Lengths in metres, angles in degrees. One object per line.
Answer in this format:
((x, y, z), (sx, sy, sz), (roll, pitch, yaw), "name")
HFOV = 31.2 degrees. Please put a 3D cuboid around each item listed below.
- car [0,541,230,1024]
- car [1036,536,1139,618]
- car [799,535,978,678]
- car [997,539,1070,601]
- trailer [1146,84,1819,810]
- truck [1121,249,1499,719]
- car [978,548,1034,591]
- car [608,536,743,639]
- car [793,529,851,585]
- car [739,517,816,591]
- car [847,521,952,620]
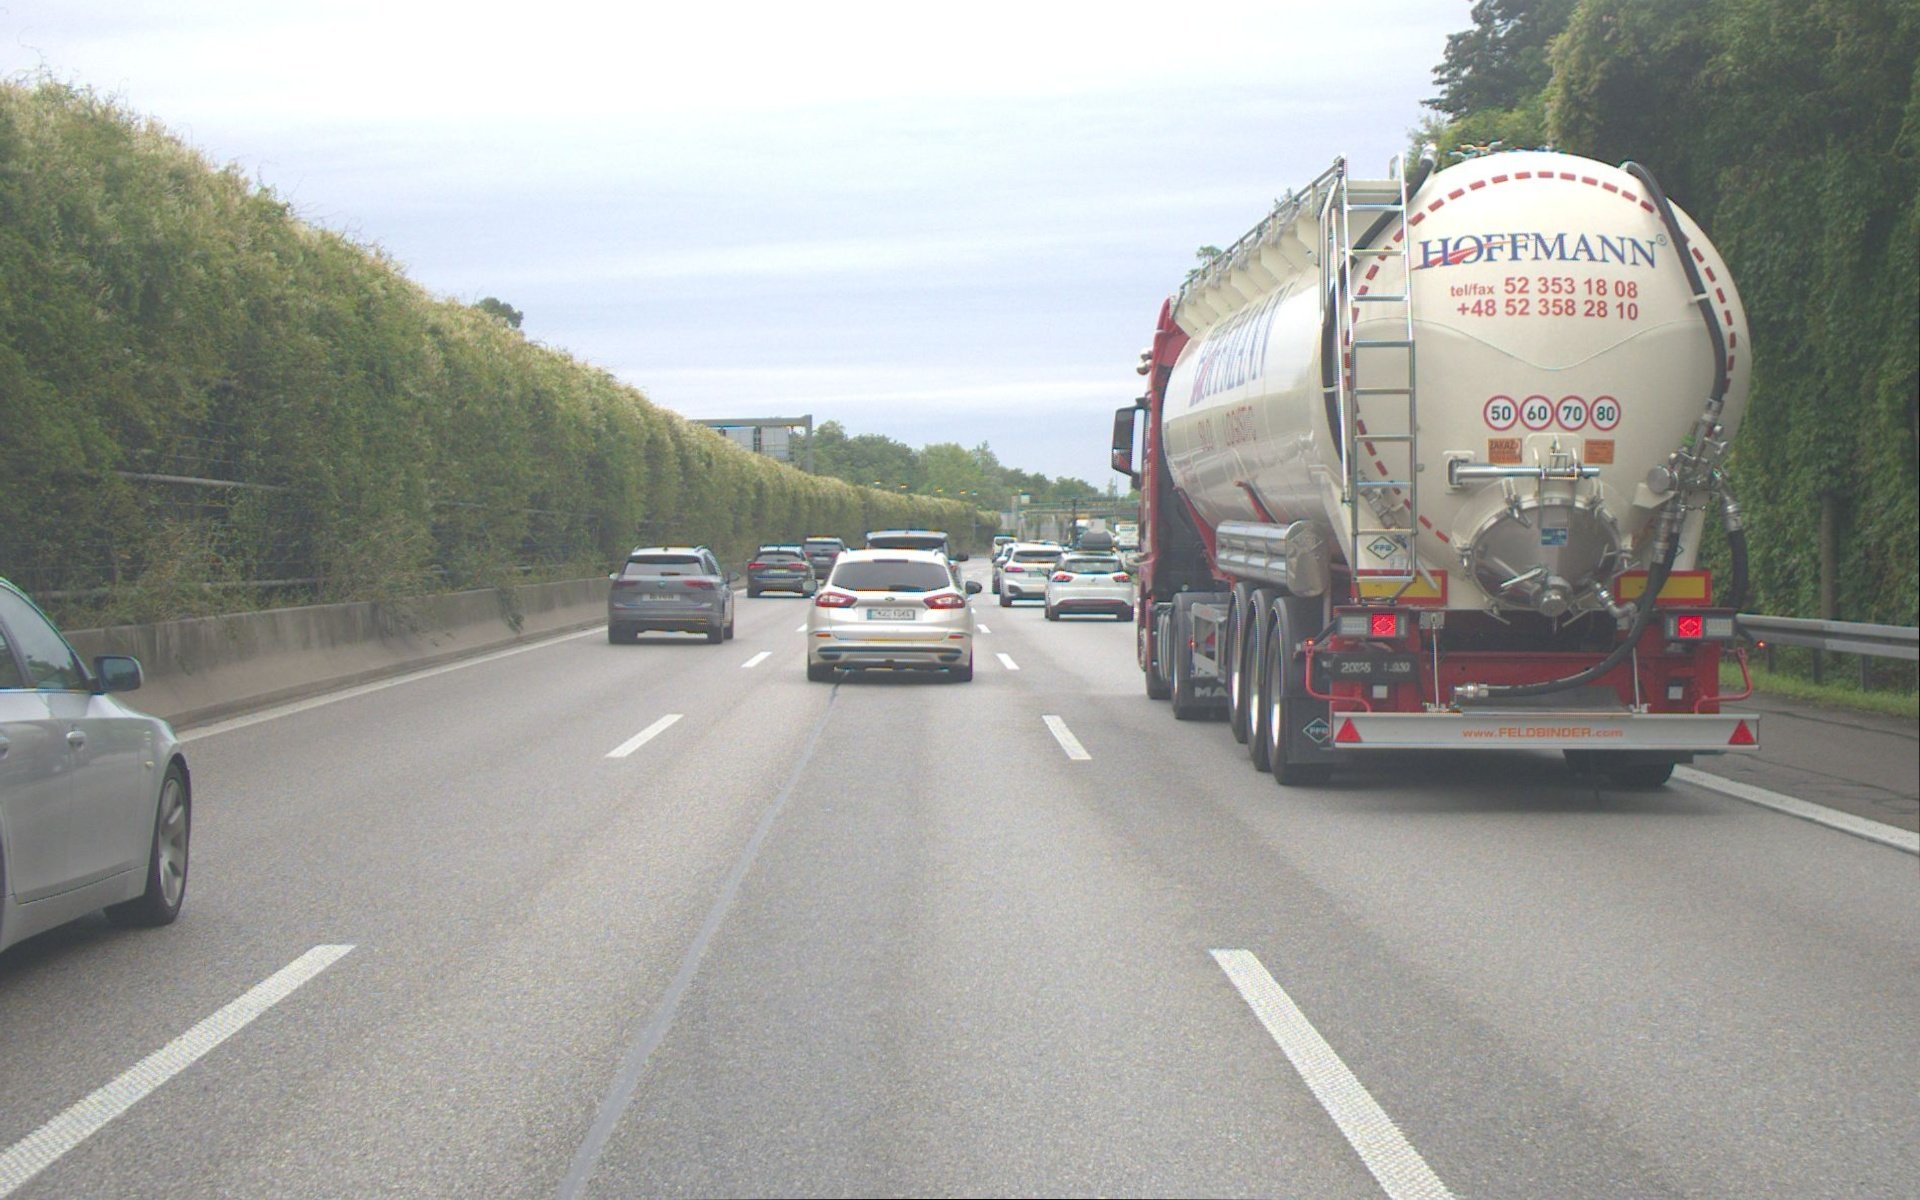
((-3.860, 0.555, 11.695), (1.720, 1.464, 5.030), (1, 1, -1), "car")
((2.598, -0.502, 71.061), (1.816, 1.620, 5.030), (1, 1, -1), "car")
((-0.777, 0.030, 39.245), (1.891, 1.499, 5.030), (1, 1, 0), "car")
((1.825, -0.752, 86.426), (1.689, 1.501, 3.871), (1, 1, -1), "car")
((3.216, -0.899, 25.373), (2.668, 3.925, 13.131), (1, 1, -1), "trailer")
((3.087, -1.003, 32.112), (2.695, 3.899, 6.557), (1, 1, -1), "truck")
((1.456, -0.989, 110.507), (1.689, 1.326, 3.871), (1, 1, -1), "car")
((-4.375, -0.220, 53.466), (1.720, 1.507, 5.030), (1, 1, -1), "car")
((-5.062, -1.605, 126.876), (1.993, 2.007, 4.000), (1, 1, 0), "car")
((-5.132, -1.307, 96.984), (1.993, 2.007, 3.841), (1, 1, 0), "car")
((-1.066, -0.552, 60.935), (1.689, 1.501, 3.872), (5, 2, -1), "car")
